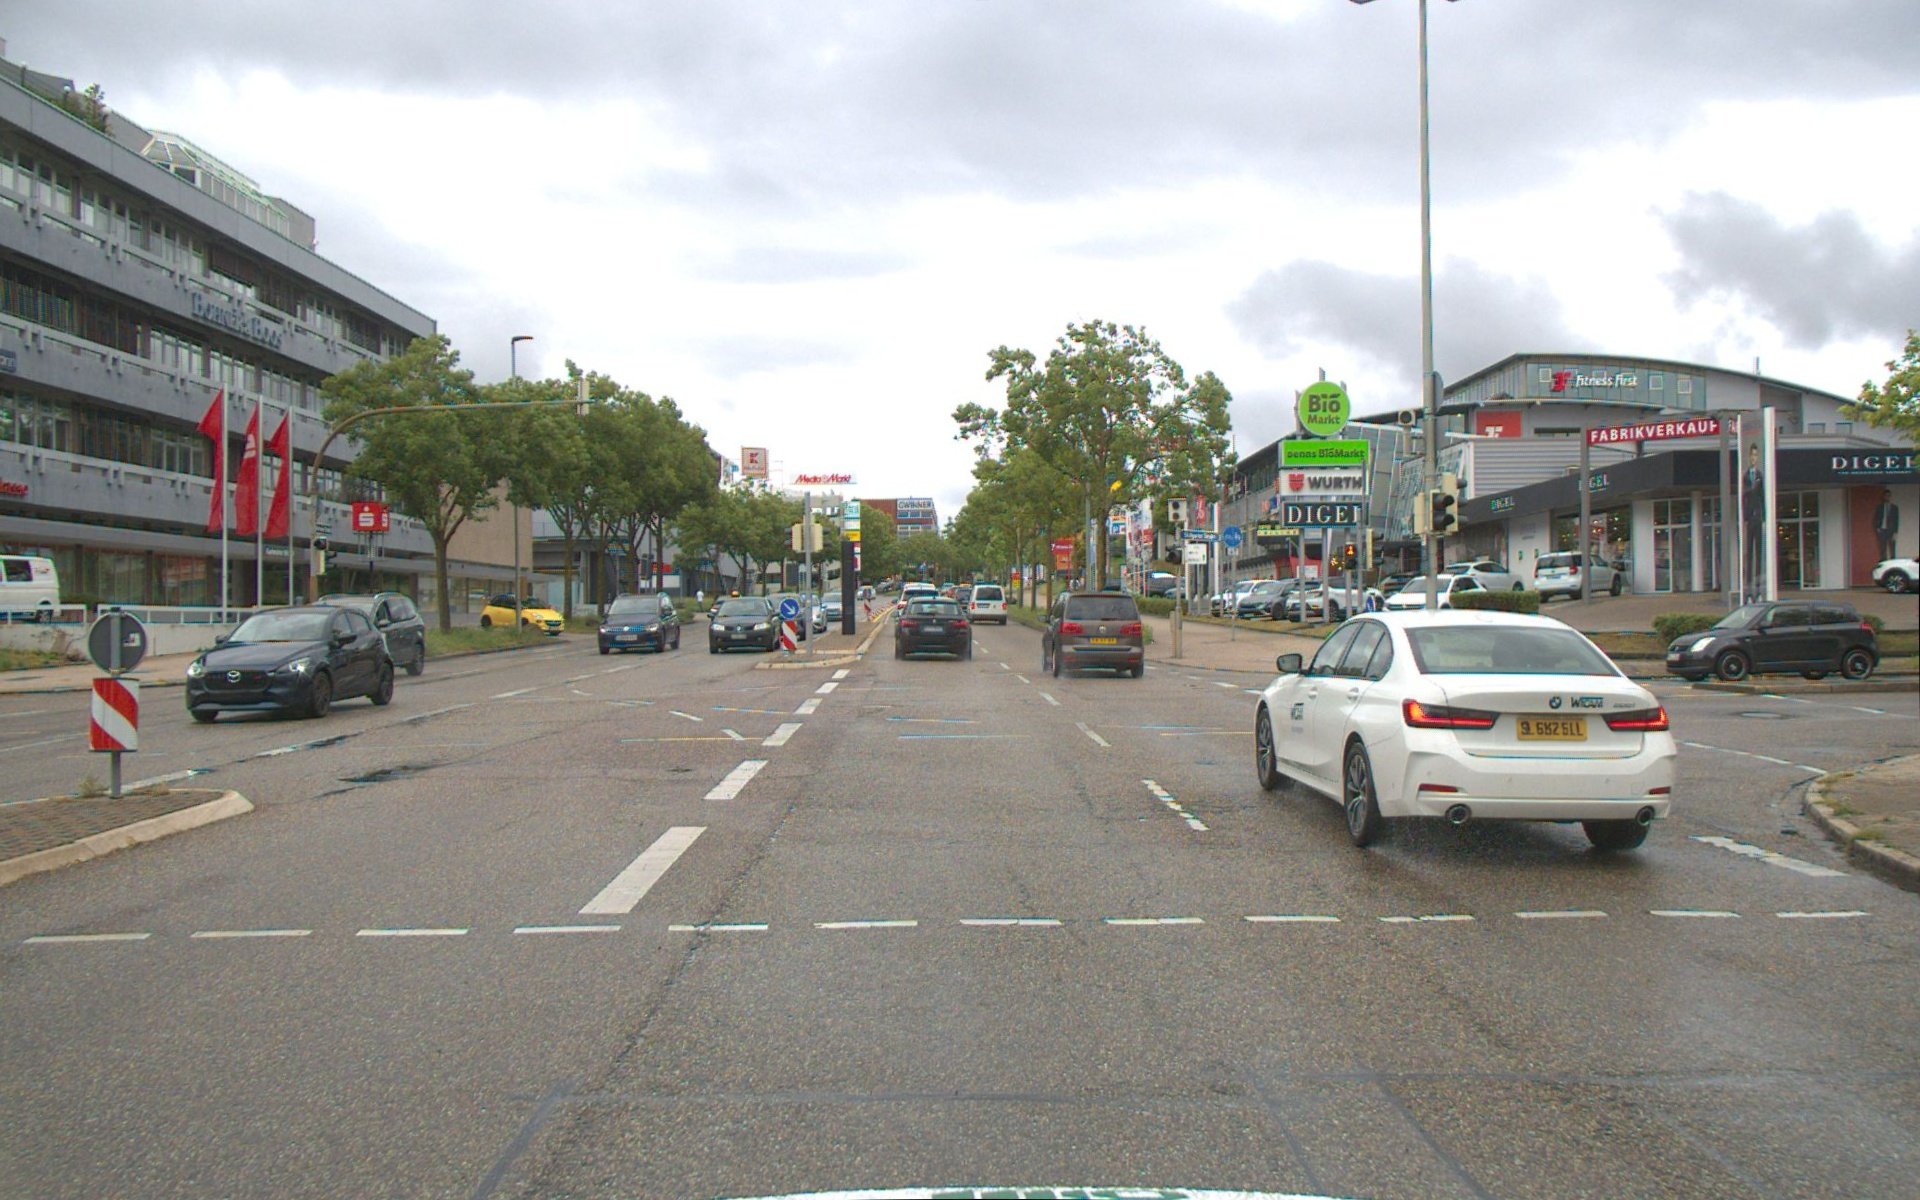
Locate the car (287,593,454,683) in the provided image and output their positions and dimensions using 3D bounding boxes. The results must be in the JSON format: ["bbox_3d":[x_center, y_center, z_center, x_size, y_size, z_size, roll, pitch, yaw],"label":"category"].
[{"bbox_3d":[-12.465,0.743,35.335,1.872,1.757,4.882,-1,0,-1],"label":"car"}]

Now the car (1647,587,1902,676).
[{"bbox_3d":[15.349,0.590,31.295,3.898,1.515,1.817,-2,-1,-1],"label":"car"}]

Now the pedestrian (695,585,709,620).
[{"bbox_3d":[-17.196,0.161,110.388,0.842,2.257,0.845,-1,0,-4],"label":"pedestrian"}]

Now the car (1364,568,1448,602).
[{"bbox_3d":[21.237,-0.725,78.680,4.115,1.494,1.806,-2,1,-39],"label":"car"}]

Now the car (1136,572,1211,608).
[{"bbox_3d":[12.195,-0.559,94.643,4.026,1.938,1.800,-1,0,1],"label":"car"}]

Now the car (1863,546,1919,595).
[{"bbox_3d":[30.836,-0.938,51.859,1.722,1.506,4.092,-1,0,-41],"label":"car"}]

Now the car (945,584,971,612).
[{"bbox_3d":[-0.112,-0.123,105.838,1.650,1.713,3.402,1,-1,0],"label":"car"}]

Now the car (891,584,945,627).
[{"bbox_3d":[-1.482,0.176,57.191,1.649,1.401,3.997,-1,0,-4],"label":"car"}]

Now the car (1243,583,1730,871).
[{"bbox_3d":[3.324,0.715,11.494,1.765,1.571,4.618,1,0,-2],"label":"car"}]

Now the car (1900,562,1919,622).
[{"bbox_3d":[26.362,-0.248,41.064,4.926,1.512,1.986,-1,0,45],"label":"car"}]

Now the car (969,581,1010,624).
[{"bbox_3d":[1.367,0.107,77.378,1.746,1.899,3.999,-1,0,-1],"label":"car"}]

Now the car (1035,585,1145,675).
[{"bbox_3d":[2.480,0.545,32.501,1.764,1.615,4.450,1,0,0],"label":"car"}]

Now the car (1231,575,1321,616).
[{"bbox_3d":[12.464,-0.191,65.146,3.566,1.563,1.620,-1,0,-41],"label":"car"}]

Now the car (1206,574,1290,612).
[{"bbox_3d":[12.711,-0.314,72.851,3.566,1.562,1.770,-2,1,-41],"label":"car"}]

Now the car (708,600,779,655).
[{"bbox_3d":[-5.838,0.717,44.877,1.649,1.401,3.997,-1,0,-4],"label":"car"}]

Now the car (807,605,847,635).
[{"bbox_3d":[-6.811,1.004,85.248,1.688,1.422,4.788,-3,0,-1],"label":"car"}]

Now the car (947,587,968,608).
[{"bbox_3d":[-0.188,-0.226,135.787,1.660,1.468,3.991,-1,4,0],"label":"car"}]

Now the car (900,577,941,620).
[{"bbox_3d":[-1.959,-0.066,82.225,1.953,2.049,3.999,1,-1,-1],"label":"car"}]

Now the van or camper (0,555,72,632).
[{"bbox_3d":[-25.890,-0.165,44.034,1.953,2.001,4.787,1,-1,-1],"label":"van or camper"}]

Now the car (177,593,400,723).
[{"bbox_3d":[-9.172,0.731,22.932,1.677,1.608,3.997,-1,0,-4],"label":"car"}]

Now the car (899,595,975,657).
[{"bbox_3d":[-0.578,0.590,40.015,1.745,1.422,3.999,0,0,-1],"label":"car"}]

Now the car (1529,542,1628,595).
[{"bbox_3d":[21.994,-1.116,58.765,4.122,1.802,1.710,-1,0,-44],"label":"car"}]

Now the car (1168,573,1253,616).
[{"bbox_3d":[12.627,-0.288,83.591,4.026,2.142,1.800,-1,0,0],"label":"car"}]

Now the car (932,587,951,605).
[{"bbox_3d":[-1.688,-0.385,149.722,1.587,1.521,3.359,1,-1,-2],"label":"car"}]

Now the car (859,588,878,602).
[{"bbox_3d":[-9.702,-0.515,175.793,1.904,1.474,3.999,0,0,-2],"label":"car"}]

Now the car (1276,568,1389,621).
[{"bbox_3d":[13.402,-0.203,59.414,3.991,1.691,1.953,-4,2,-41],"label":"car"}]

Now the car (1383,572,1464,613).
[{"bbox_3d":[21.047,-0.353,75.094,3.939,1.750,1.610,-1,0,-41],"label":"car"}]

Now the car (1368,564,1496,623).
[{"bbox_3d":[13.520,-0.208,47.241,1.897,1.604,4.265,-1,0,40],"label":"car"}]

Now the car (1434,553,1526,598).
[{"bbox_3d":[21.551,-1.016,68.429,4.116,1.802,1.712,-1,0,-41],"label":"car"}]

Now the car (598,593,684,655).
[{"bbox_3d":[-9.019,0.659,47.036,1.873,1.636,4.359,-1,0,-4],"label":"car"}]

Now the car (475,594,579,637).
[{"bbox_3d":[-17.224,0.618,65.764,3.917,1.579,1.894,-1,0,34],"label":"car"}]

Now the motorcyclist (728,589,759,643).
[{"bbox_3d":[-6.479,0.476,49.476,0.790,1.586,1.267,-1,0,-3],"label":"motorcyclist"}]

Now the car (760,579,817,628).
[{"bbox_3d":[-5.637,0.103,54.765,1.710,1.515,4.825,-1,0,-4],"label":"car"}]

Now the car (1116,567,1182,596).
[{"bbox_3d":[11.610,-1.130,101.763,4.024,1.733,1.801,-1,0,5],"label":"car"}]
